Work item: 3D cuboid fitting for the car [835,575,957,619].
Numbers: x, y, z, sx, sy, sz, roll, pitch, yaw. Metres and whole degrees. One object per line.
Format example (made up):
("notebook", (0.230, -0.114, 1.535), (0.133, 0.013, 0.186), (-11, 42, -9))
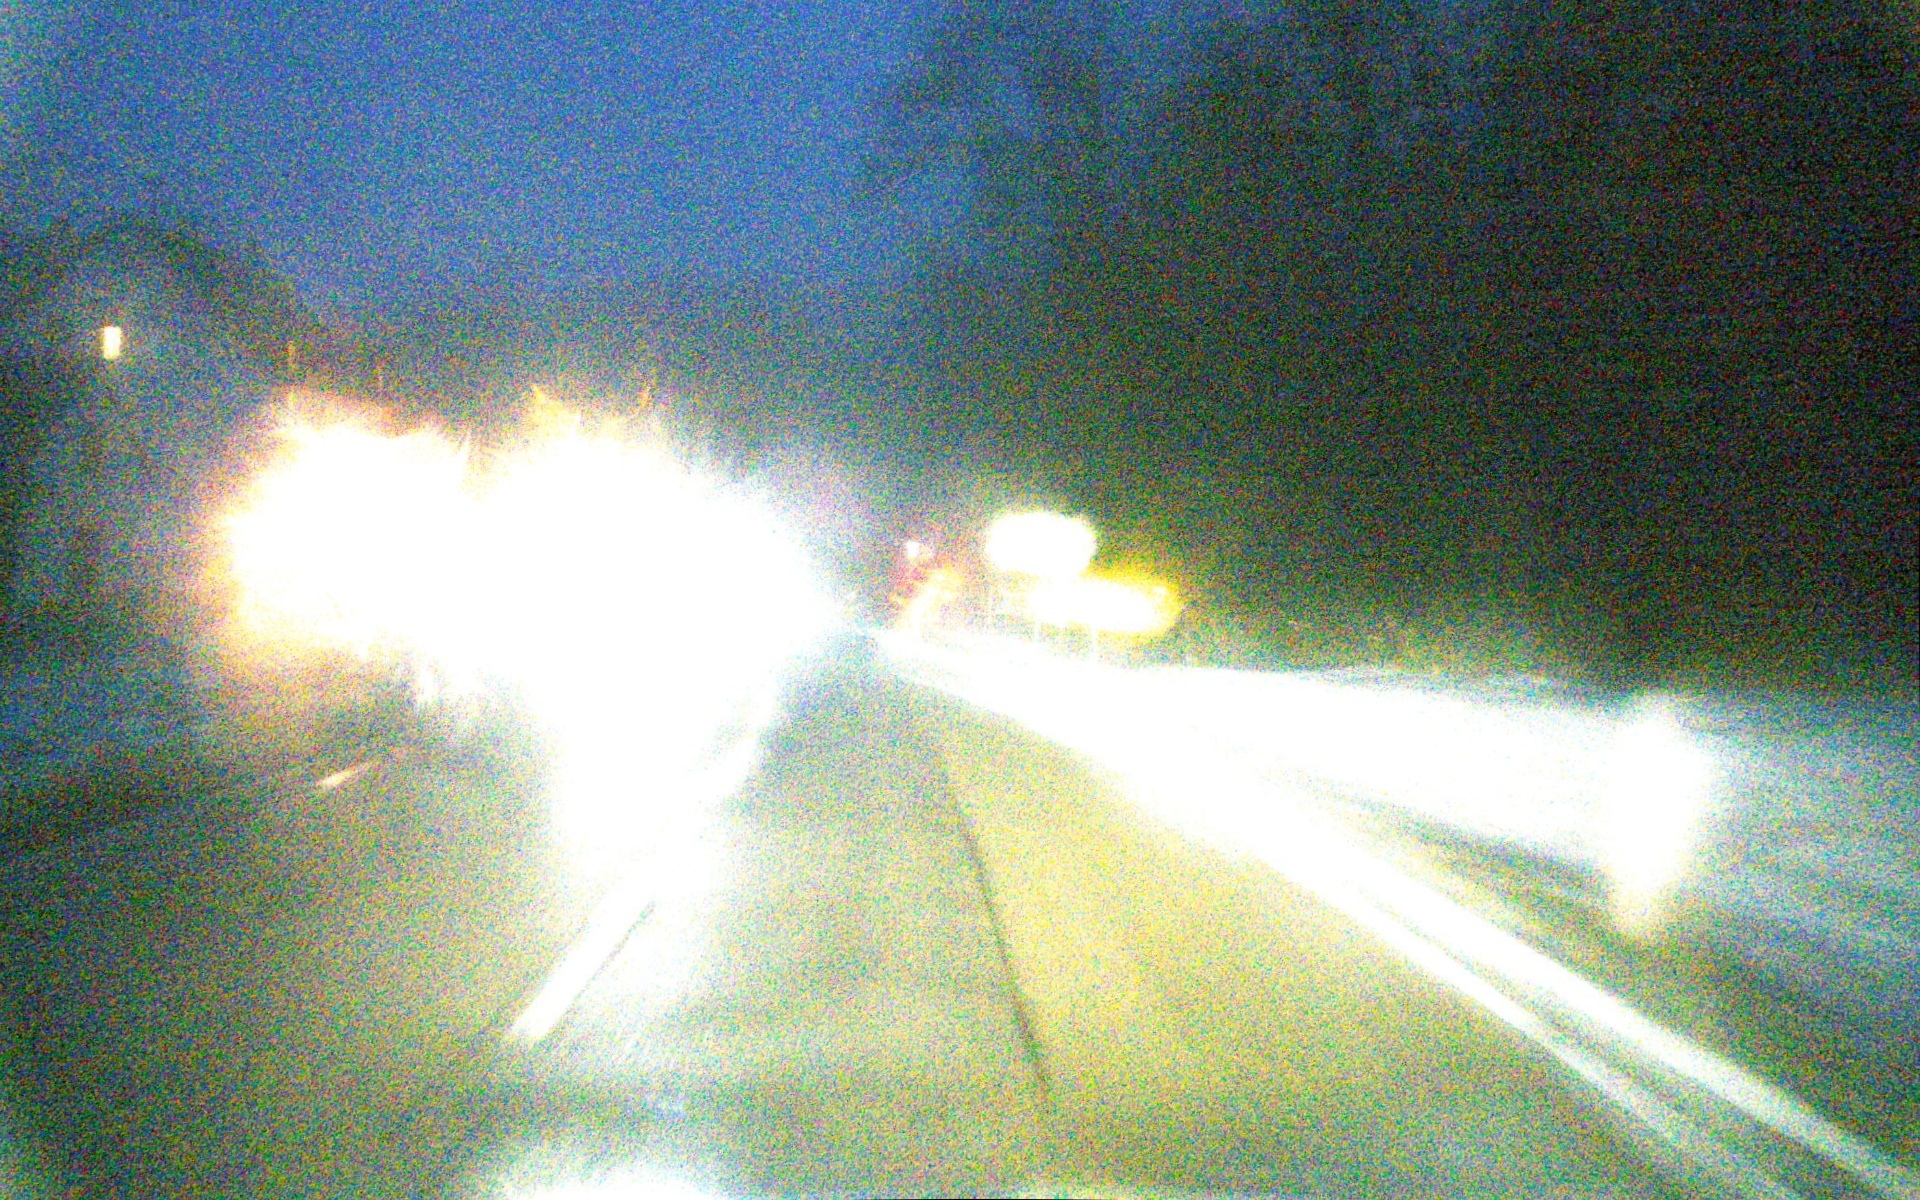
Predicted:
("car", (-2.643, -0.130, 68.043), (4.670, 1.721, 1.957), (1, 0, 30))

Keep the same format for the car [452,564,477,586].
("car", (-37.509, -1.897, 125.080), (1.670, 1.627, 3.780), (0, 2, -19))

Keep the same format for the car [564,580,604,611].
("car", (-19.521, -0.251, 85.837), (1.685, 1.501, 3.850), (1, 1, -18))

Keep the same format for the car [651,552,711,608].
("car", (-14.299, -1.057, 84.503), (2.496, 2.540, 5.695), (0, 4, -15))

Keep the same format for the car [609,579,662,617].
("car", (-14.010, -0.097, 71.292), (1.923, 1.548, 4.381), (1, 0, -15))

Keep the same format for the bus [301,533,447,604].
("bus", (-34.384, -1.892, 96.566), (2.881, 3.936, 12.844), (0, 2, -45))

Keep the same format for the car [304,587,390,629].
("car", (-23.665, 0.266, 63.996), (1.653, 1.422, 4.151), (-2, 2, 1))
